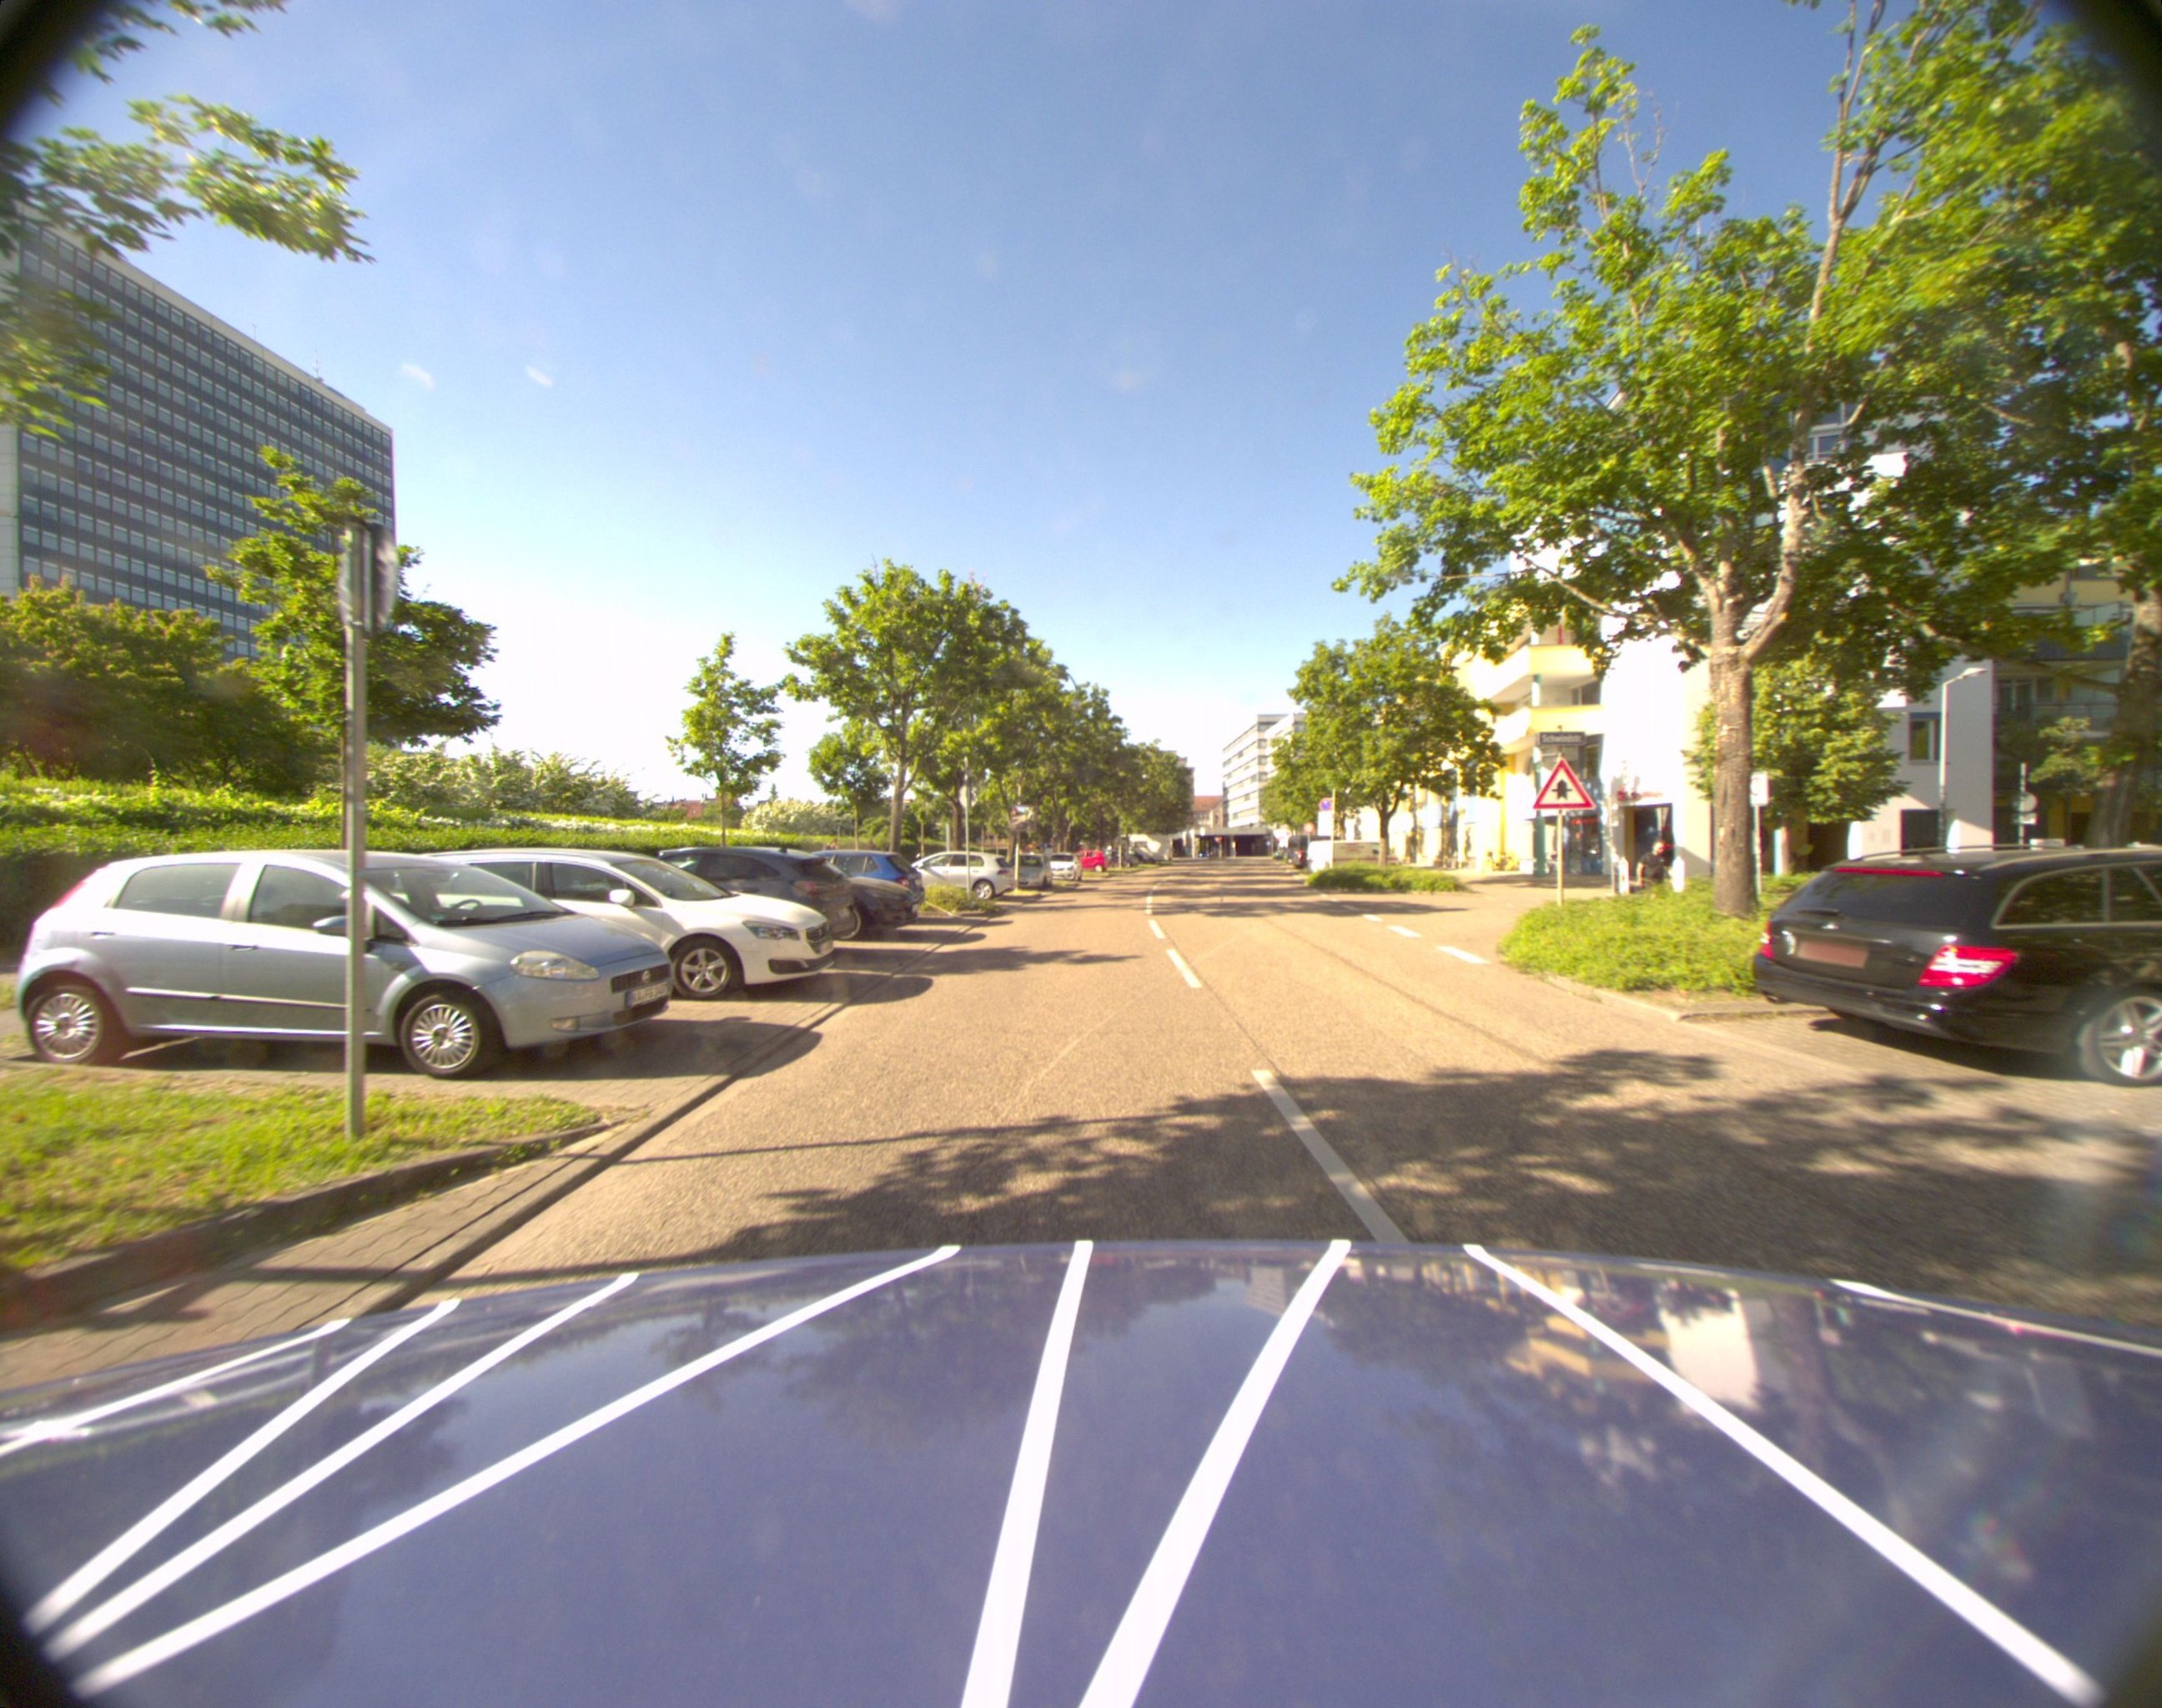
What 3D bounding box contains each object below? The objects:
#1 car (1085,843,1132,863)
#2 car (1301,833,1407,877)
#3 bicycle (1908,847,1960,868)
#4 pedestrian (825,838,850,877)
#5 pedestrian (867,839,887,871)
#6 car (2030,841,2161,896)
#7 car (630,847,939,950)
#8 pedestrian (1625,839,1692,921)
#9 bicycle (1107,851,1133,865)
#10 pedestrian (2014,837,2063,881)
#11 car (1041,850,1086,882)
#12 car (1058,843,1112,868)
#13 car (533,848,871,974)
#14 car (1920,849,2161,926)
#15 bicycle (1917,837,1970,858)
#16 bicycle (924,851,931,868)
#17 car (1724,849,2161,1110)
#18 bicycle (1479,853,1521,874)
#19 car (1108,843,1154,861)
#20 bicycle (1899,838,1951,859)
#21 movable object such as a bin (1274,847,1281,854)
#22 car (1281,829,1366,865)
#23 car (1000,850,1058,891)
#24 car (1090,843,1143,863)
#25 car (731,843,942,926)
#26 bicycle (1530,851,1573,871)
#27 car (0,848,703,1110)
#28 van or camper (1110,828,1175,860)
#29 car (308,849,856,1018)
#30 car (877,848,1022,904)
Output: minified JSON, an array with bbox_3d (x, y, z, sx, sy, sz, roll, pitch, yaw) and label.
[{"bbox_3d":[2.271,-0.109,62.621,3.466,1.471,1.861,2,2,14],"label":"car"},{"bbox_3d":[13.516,0.044,37.577,4.776,1.973,1.996,-2,0,-23],"label":"car"},{"bbox_3d":[34.820,0.143,31.034,1.803,0.867,0.287,0,2,-1],"label":"bicycle"},{"bbox_3d":[-9.825,0.131,30.695,0.608,1.533,0.937,0,1,5],"label":"pedestrian"},{"bbox_3d":[-10.121,0.055,37.692,0.725,1.579,0.853,0,1,2],"label":"pedestrian"},{"bbox_3d":[33.661,0.427,24.239,4.245,1.584,2.000,-2,0,0],"label":"car"},{"bbox_3d":[-5.025,0.707,13.384,4.560,1.506,2.158,2,2,1],"label":"car"},{"bbox_3d":[12.385,0.532,16.324,0.658,1.716,1.022,1,2,5],"label":"pedestrian"},{"bbox_3d":[2.862,0.285,55.787,1.752,0.985,0.531,2,2,25],"label":"bicycle"},{"bbox_3d":[33.990,0.171,26.979,0.798,1.505,0.719,-2,1,-1],"label":"pedestrian"},{"bbox_3d":[-0.853,0.596,39.376,1.646,1.485,3.767,2,1,8],"label":"car"},{"bbox_3d":[0.320,0.102,53.188,3.438,1.535,1.629,3,2,14],"label":"car"},{"bbox_3d":[-5.182,0.732,10.759,3.885,1.506,1.750,2,2,1],"label":"car"},{"bbox_3d":[19.987,0.662,15.380,3.992,1.438,1.804,0,-2,0],"label":"car"},{"bbox_3d":[34.831,-0.258,30.698,1.803,0.867,0.287,0,2,-1],"label":"bicycle"},{"bbox_3d":[-7.960,0.278,39.471,0.347,0.861,1.407,0,1,-11],"label":"bicycle"},{"bbox_3d":[7.373,0.723,5.235,4.272,1.415,1.740,-2,1,4],"label":"car"},{"bbox_3d":[22.140,0.500,40.174,1.800,1.091,0.702,1,1,14],"label":"bicycle"},{"bbox_3d":[4.804,-0.246,72.837,4.155,1.537,1.860,2,2,11],"label":"car"},{"bbox_3d":[34.857,-0.242,31.377,1.803,0.867,0.287,0,2,-1],"label":"bicycle"},{"bbox_3d":[28.222,-0.525,109.326,0.674,1.068,0.804,0,2,38],"label":"movable object such as a bin"},{"bbox_3d":[17.567,-0.512,55.165,5.507,2.422,2.184,-2,0,-14],"label":"car"},{"bbox_3d":[-2.087,0.642,31.831,1.813,1.485,4.624,2,1,4],"label":"car"},{"bbox_3d":[3.042,-0.068,65.314,4.199,1.537,1.861,2,2,14],"label":"car"},{"bbox_3d":[-5.083,0.593,16.111,3.814,1.440,1.744,3,2,3],"label":"car"},{"bbox_3d":[21.997,0.307,35.522,1.803,0.867,0.491,-2,2,-6],"label":"bicycle"},{"bbox_3d":[-5.227,0.780,5.659,3.957,1.506,1.701,2,2,2],"label":"car"},{"bbox_3d":[6.156,-1.036,75.475,5.990,2.967,2.673,2,2,12],"label":"van or camper"},{"bbox_3d":[-5.003,0.778,8.268,4.563,1.506,1.981,2,2,-5],"label":"car"},{"bbox_3d":[-4.055,0.650,23.742,4.096,1.421,1.643,3,2,7],"label":"car"}]
